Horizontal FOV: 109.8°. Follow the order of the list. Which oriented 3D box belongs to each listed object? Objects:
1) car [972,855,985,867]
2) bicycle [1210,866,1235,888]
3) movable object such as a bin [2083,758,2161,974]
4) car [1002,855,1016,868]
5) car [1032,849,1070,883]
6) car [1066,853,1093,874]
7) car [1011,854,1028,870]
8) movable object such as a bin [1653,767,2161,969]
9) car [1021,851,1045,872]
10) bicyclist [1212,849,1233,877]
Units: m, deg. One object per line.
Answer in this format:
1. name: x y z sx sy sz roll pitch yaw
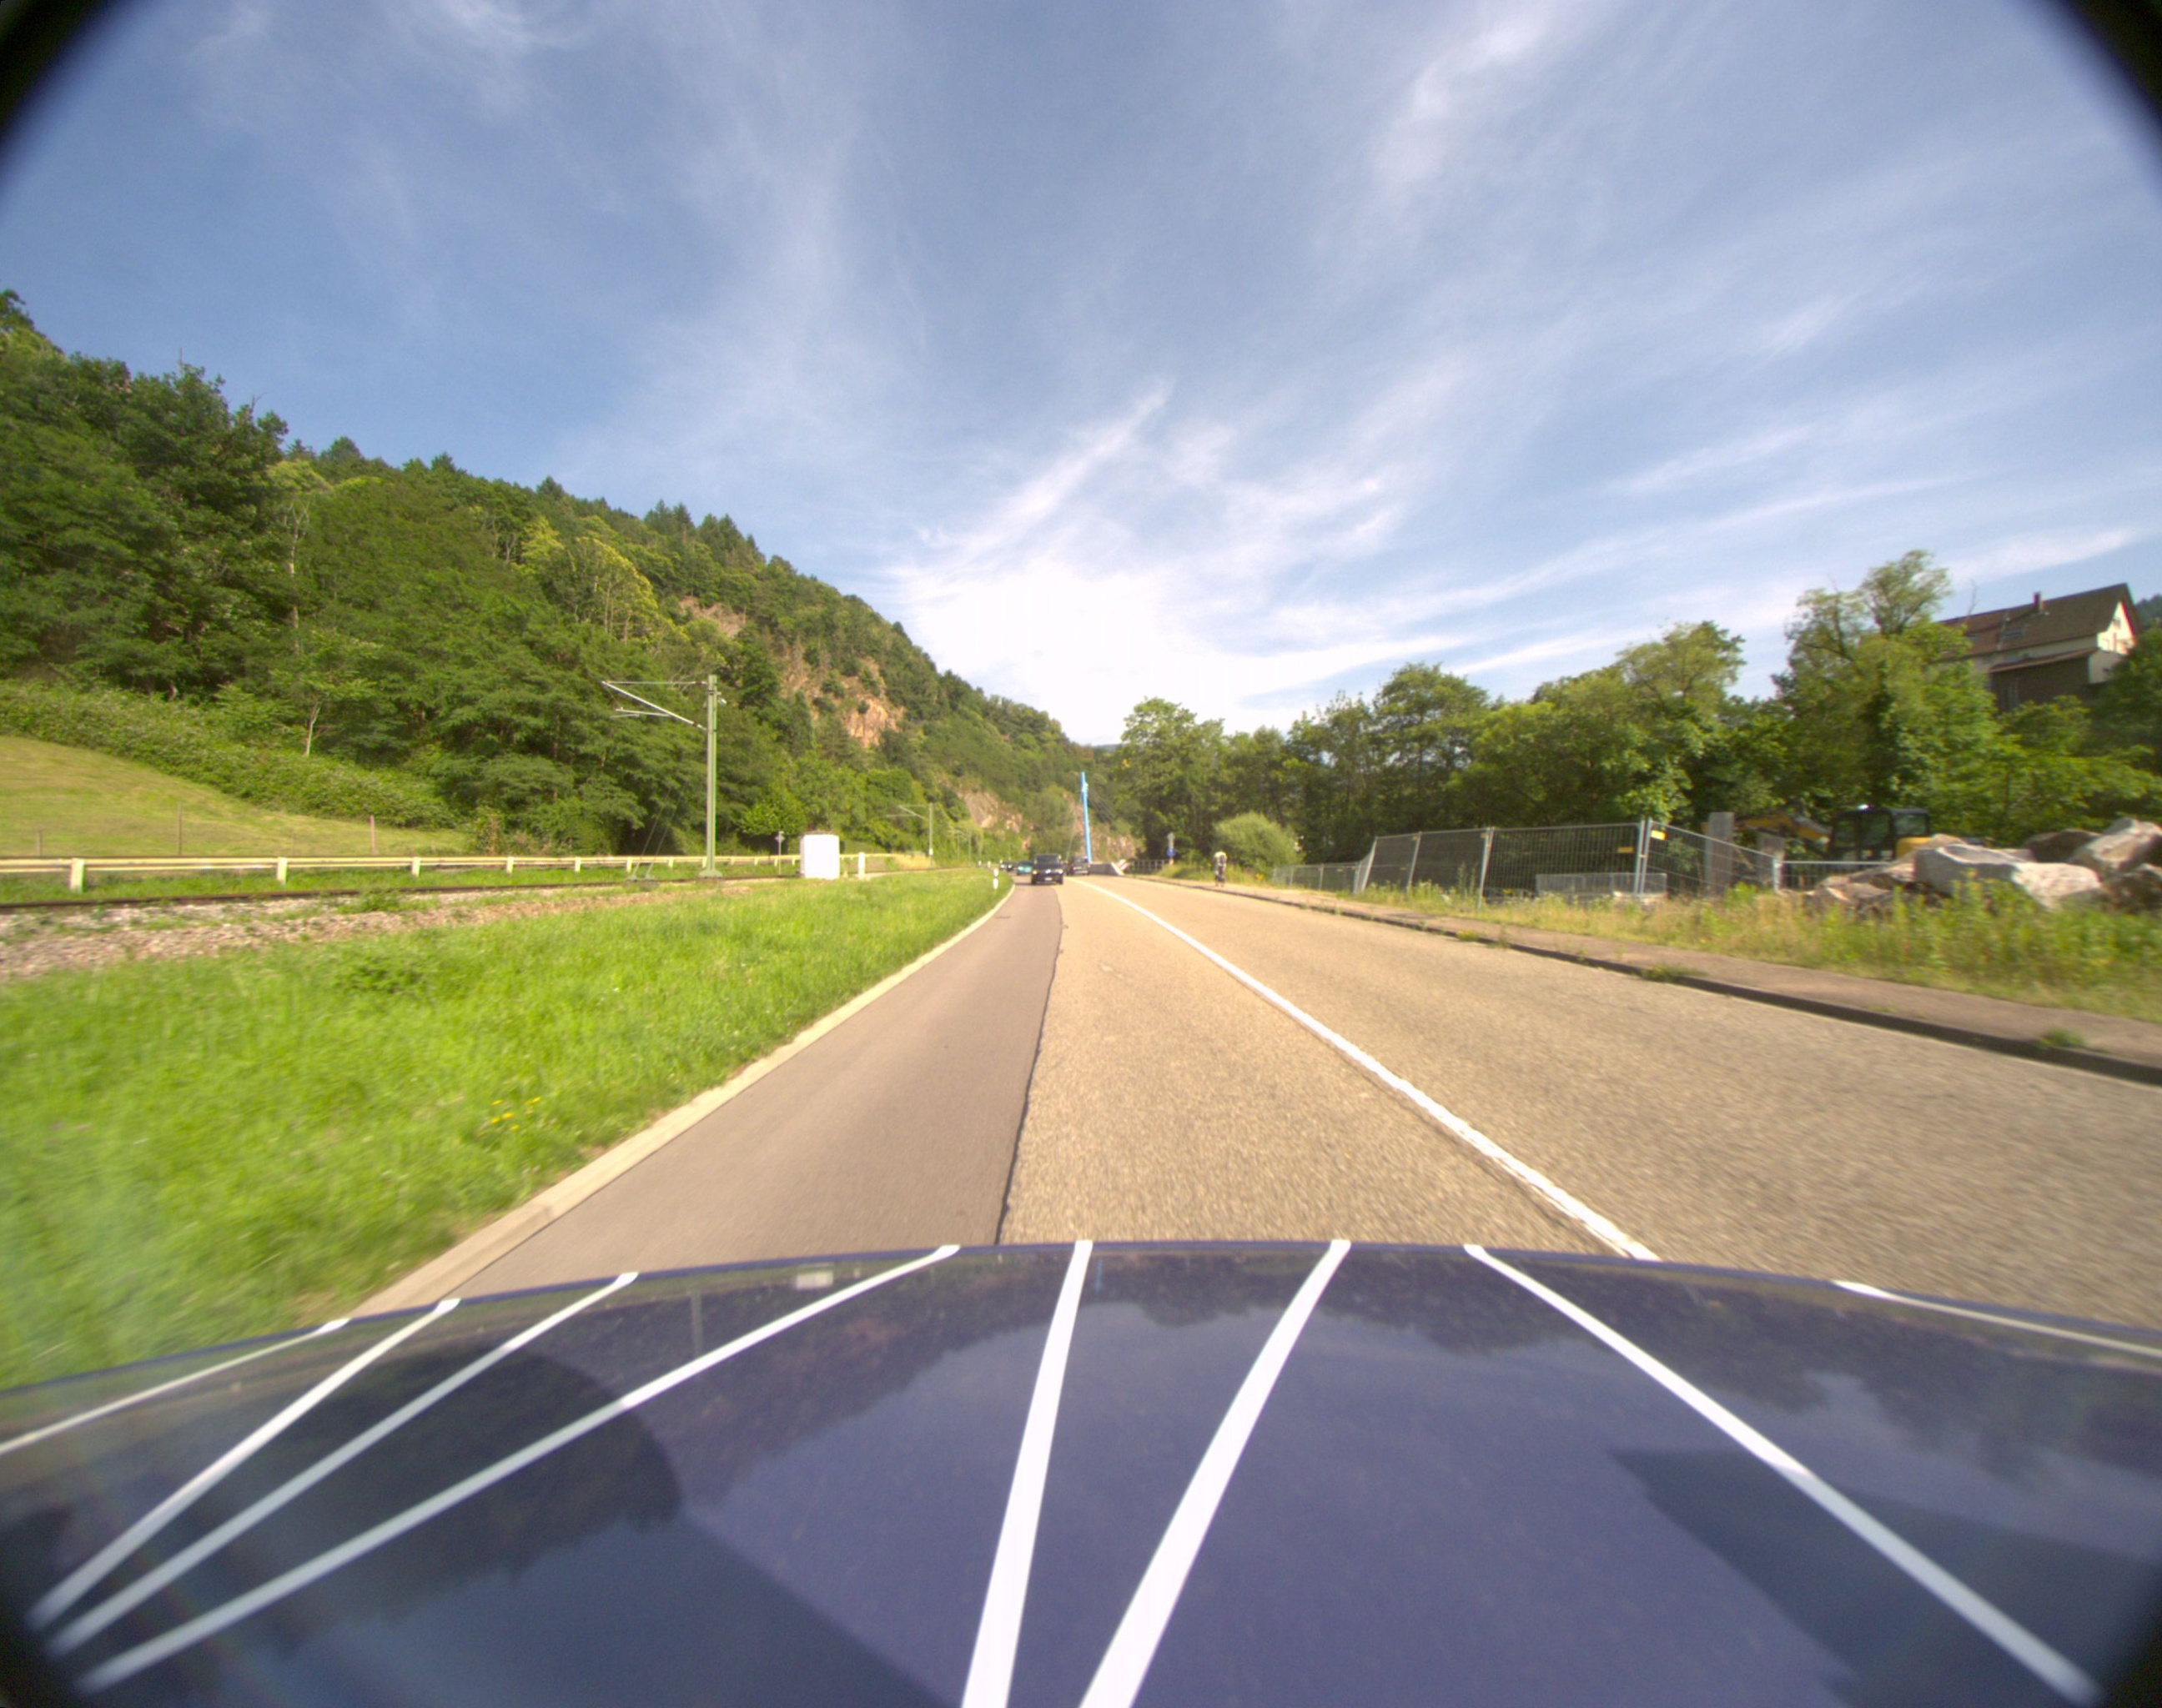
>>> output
1. car: -17.615 1.226 130.972 2.000 2.001 3.998 2 0 -6
2. bicycle: 6.341 1.015 34.207 0.541 0.876 2.252 -2 0 -4
3. movable object such as a bin: 21.288 0.244 11.346 2.729 3.924 7.226 1 0 -5
4. car: -11.216 1.168 118.633 2.000 2.001 3.997 2 0 -8
5. car: -1.934 0.806 47.709 2.000 2.001 3.999 1 -2 -8
6. car: -0.168 0.830 67.905 1.857 1.774 4.681 -2 0 -6
7. car: -8.316 1.075 101.955 2.000 2.001 3.997 2 0 -8
8. movable object such as a bin: 20.501 0.311 19.924 2.707 3.924 9.985 1 0 -5
9. car: -4.833 0.780 75.904 2.000 2.001 3.997 2 0 -8
10. bicyclist: 6.337 0.401 34.080 0.686 1.218 0.858 -1 0 -4
